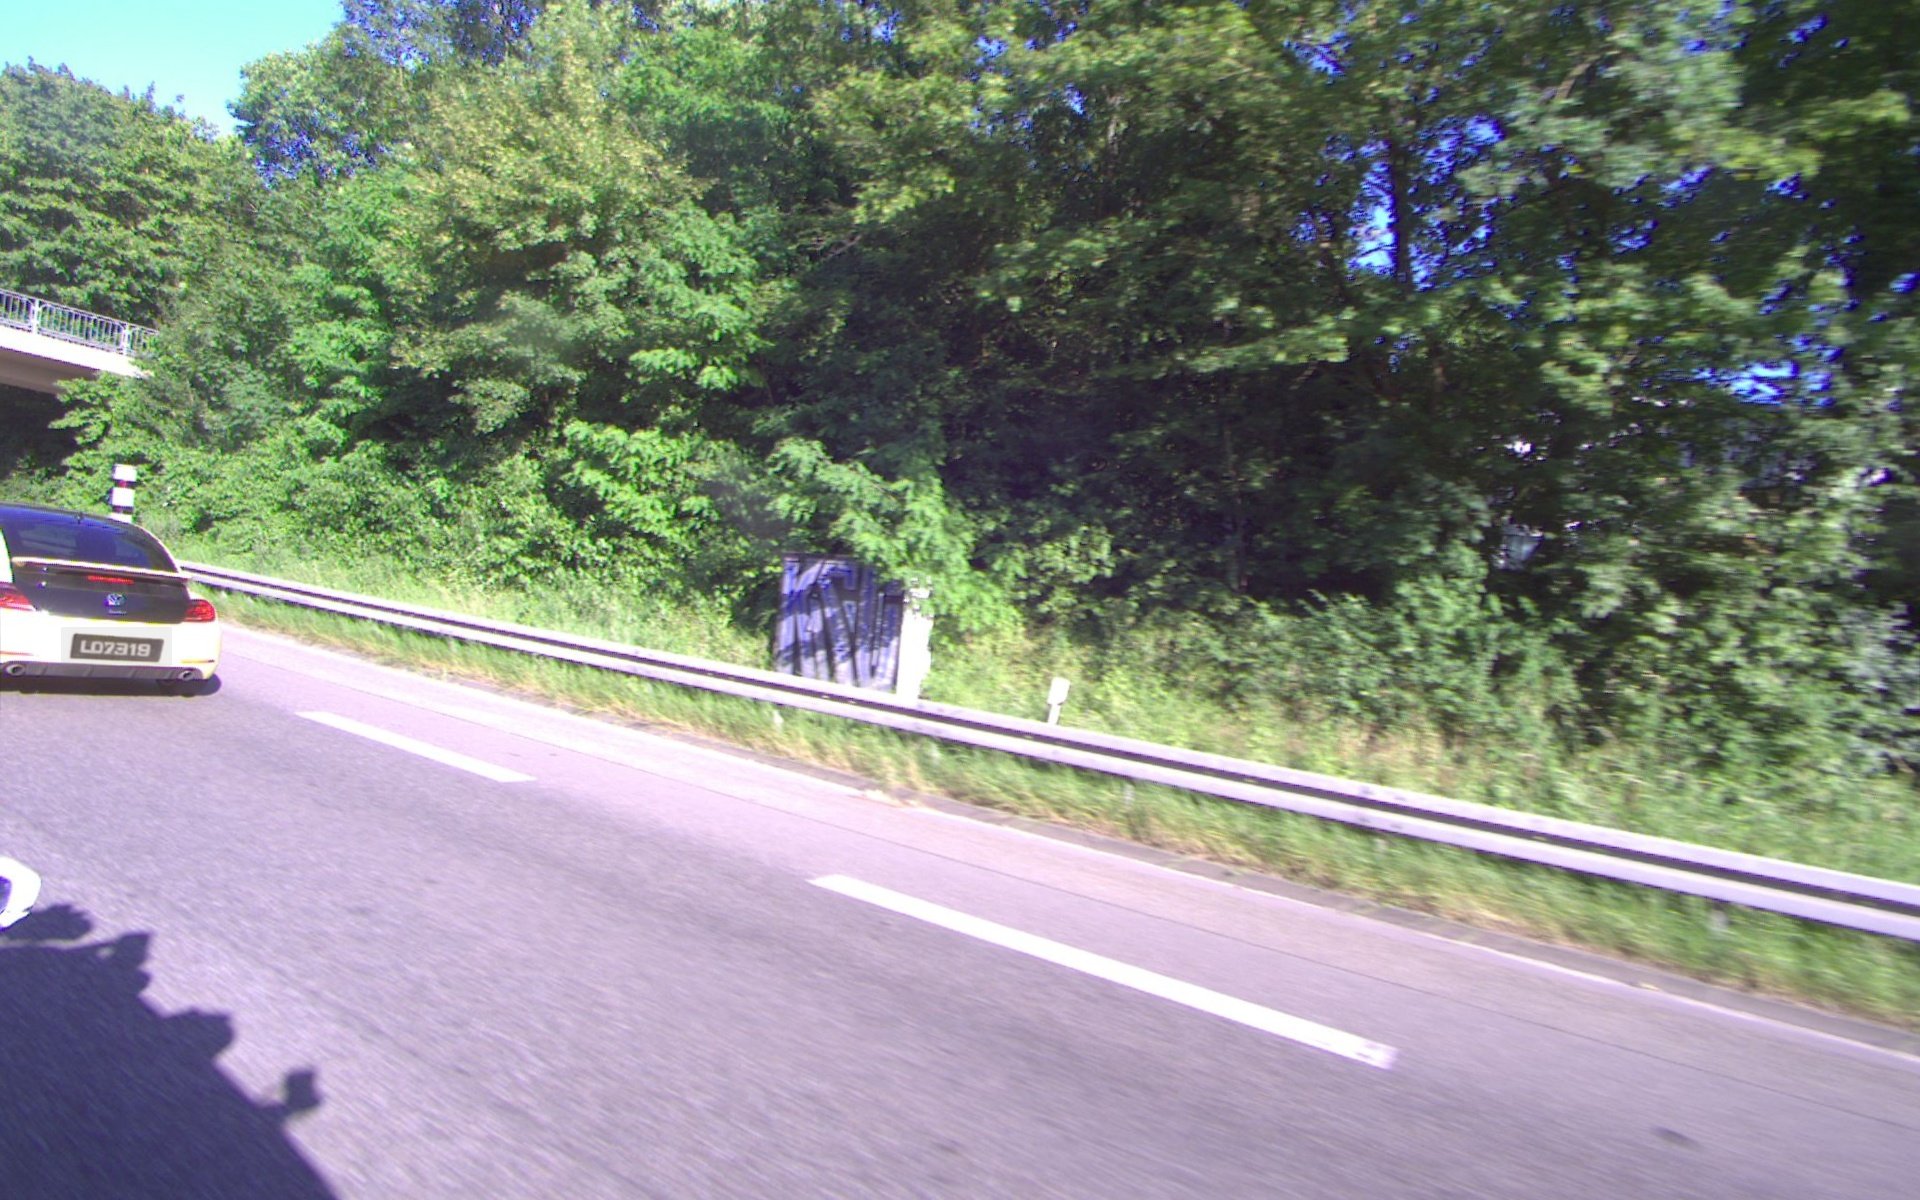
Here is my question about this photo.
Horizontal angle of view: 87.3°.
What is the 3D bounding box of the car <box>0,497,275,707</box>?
[{"bbox_3d":[-8.287,-0.130,8.960,4.283,1.479,1.883,7,-1,31],"label":"car"}]
